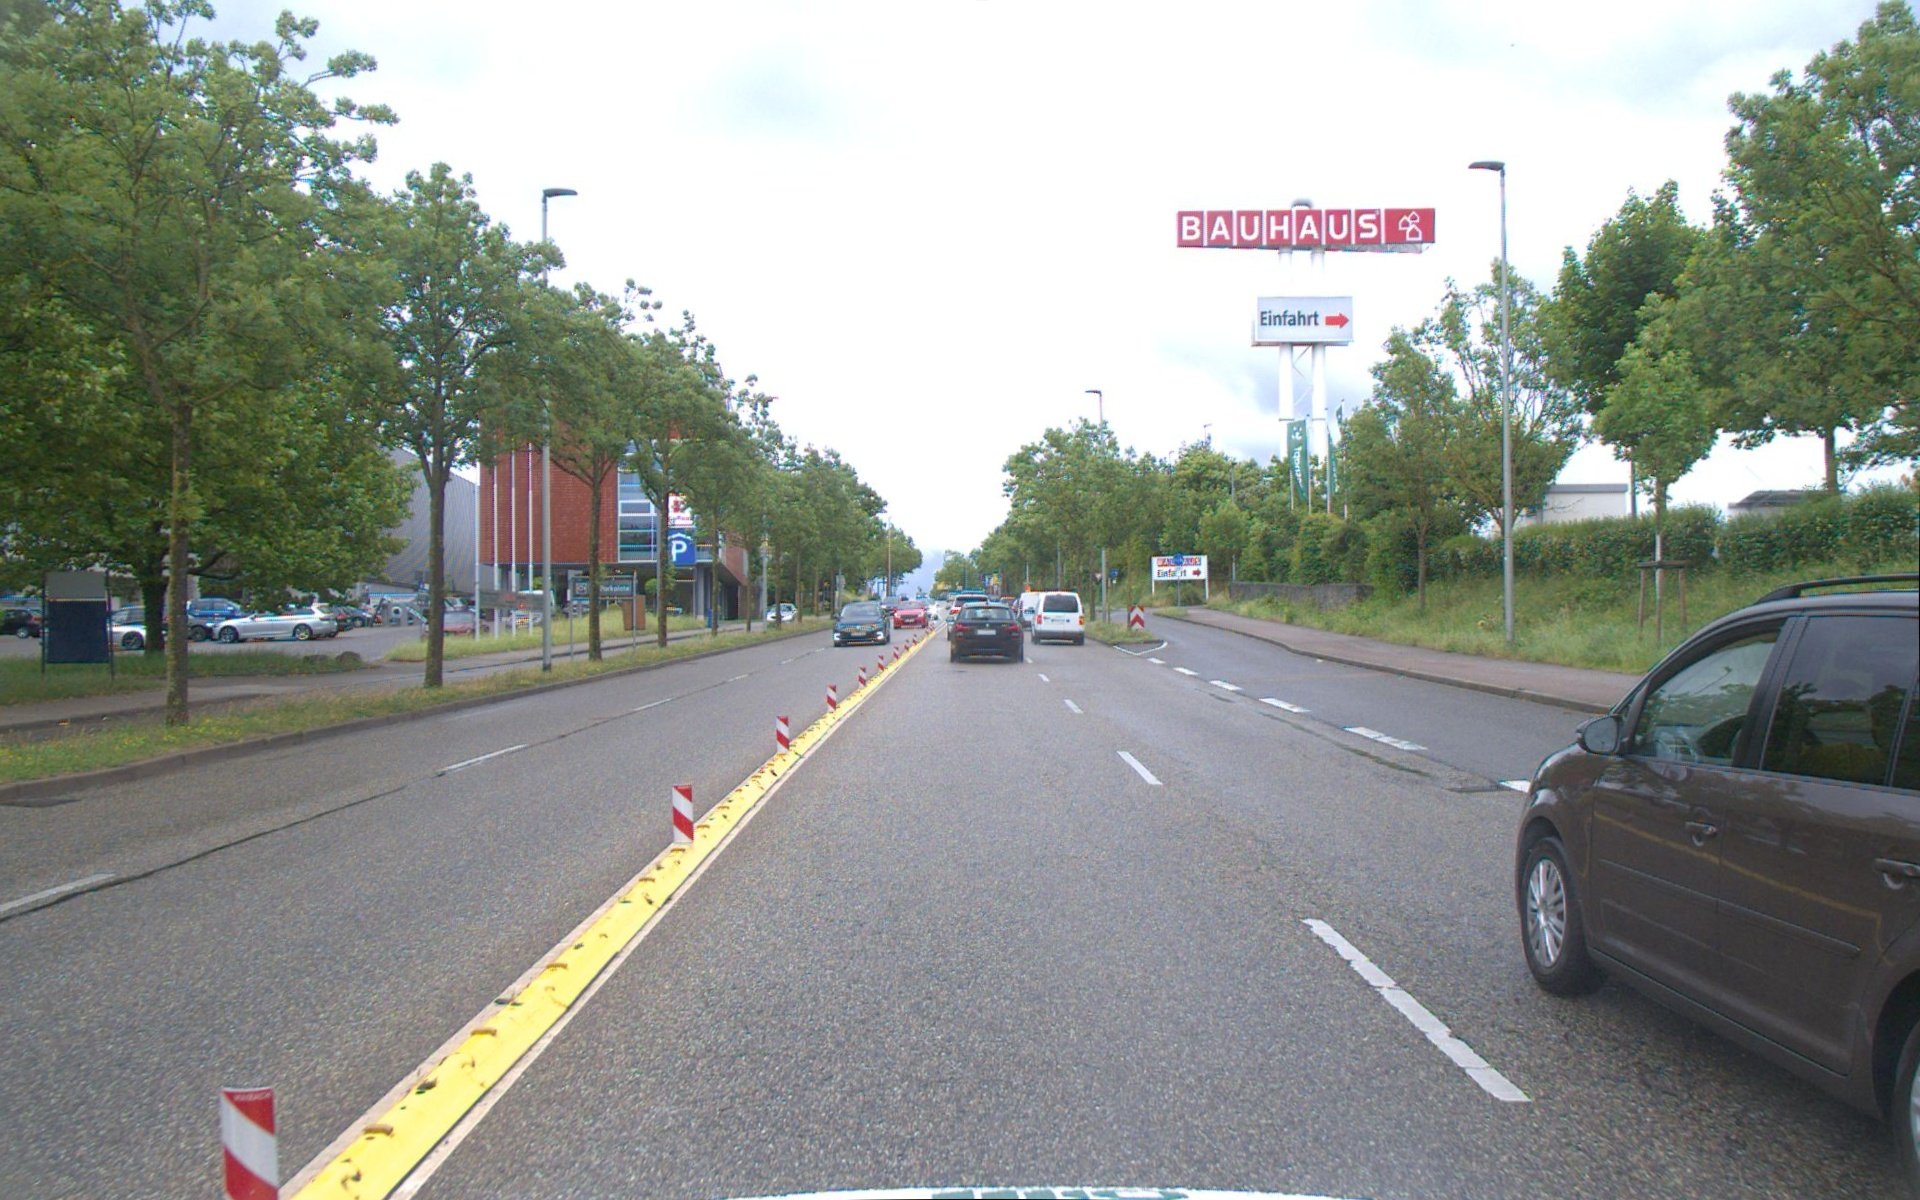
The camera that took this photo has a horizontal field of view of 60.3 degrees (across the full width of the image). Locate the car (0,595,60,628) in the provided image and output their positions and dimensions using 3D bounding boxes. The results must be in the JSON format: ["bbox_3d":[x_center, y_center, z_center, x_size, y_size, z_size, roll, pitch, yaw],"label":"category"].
[{"bbox_3d":[-51.954,0.615,90.989,3.911,1.762,1.798,0,1,-7],"label":"car"}]

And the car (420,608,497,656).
[{"bbox_3d":[-19.497,1.196,64.454,1.895,1.637,4.707,1,2,-5],"label":"car"}]

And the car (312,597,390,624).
[{"bbox_3d":[-36.066,0.610,98.038,4.032,1.536,1.816,0,1,-8],"label":"car"}]

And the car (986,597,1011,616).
[{"bbox_3d":[3.164,0.536,136.087,1.758,1.537,3.998,1,-1,-3],"label":"car"}]

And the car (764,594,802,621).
[{"bbox_3d":[-11.118,0.472,104.205,1.829,1.580,4.575,-3,0,0],"label":"car"}]

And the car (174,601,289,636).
[{"bbox_3d":[-34.105,0.843,77.578,4.523,1.536,2.022,0,1,-8],"label":"car"}]

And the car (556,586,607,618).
[{"bbox_3d":[-22.803,0.113,99.795,2.095,1.804,4.607,1,2,-2],"label":"car"}]

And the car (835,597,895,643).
[{"bbox_3d":[-3.283,0.658,57.811,1.789,1.491,4.616,-1,0,0],"label":"car"}]

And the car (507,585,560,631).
[{"bbox_3d":[-21.783,0.374,84.697,2.074,2.132,5.113,0,2,-9],"label":"car"}]

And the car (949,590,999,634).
[{"bbox_3d":[0.513,0.459,61.851,1.757,1.537,4.000,1,-1,0],"label":"car"}]

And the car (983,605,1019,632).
[{"bbox_3d":[2.356,1.064,95.693,1.758,1.537,3.998,1,-1,-3],"label":"car"}]

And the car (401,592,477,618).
[{"bbox_3d":[-31.778,0.302,100.972,4.112,1.536,1.816,0,1,-8],"label":"car"}]

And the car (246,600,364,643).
[{"bbox_3d":[-28.486,0.925,72.041,4.415,1.776,1.897,0,1,-8],"label":"car"}]

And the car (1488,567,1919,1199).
[{"bbox_3d":[3.228,0.735,5.199,1.651,1.608,4.217,2,0,-2],"label":"car"}]

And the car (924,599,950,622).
[{"bbox_3d":[-1.544,0.711,112.783,1.633,1.434,4.378,-3,0,1],"label":"car"}]

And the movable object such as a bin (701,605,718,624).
[{"bbox_3d":[-14.980,0.875,98.981,0.802,1.098,1.086,4,0,1],"label":"movable object such as a bin"}]

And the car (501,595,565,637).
[{"bbox_3d":[-20.341,0.732,79.033,1.998,1.792,4.943,1,2,-3],"label":"car"}]

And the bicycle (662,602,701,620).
[{"bbox_3d":[-16.480,0.642,97.945,2.033,0.951,1.094,4,0,4],"label":"bicycle"}]

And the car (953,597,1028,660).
[{"bbox_3d":[0.765,0.683,41.852,1.789,1.494,4.000,-1,0,1],"label":"car"}]

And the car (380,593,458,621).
[{"bbox_3d":[-31.513,0.427,96.494,4.032,1.536,1.816,0,1,-8],"label":"car"}]

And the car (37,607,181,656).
[{"bbox_3d":[-32.600,1.182,63.509,4.517,1.776,1.962,0,1,-12],"label":"car"}]

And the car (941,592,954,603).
[{"bbox_3d":[-1.839,-0.363,247.901,1.757,1.536,4.000,-3,0,1],"label":"car"}]

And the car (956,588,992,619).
[{"bbox_3d":[0.720,0.213,86.288,1.758,1.537,3.999,1,-1,-1],"label":"car"}]

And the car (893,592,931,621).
[{"bbox_3d":[-2.493,0.329,86.669,1.725,1.450,4.181,-1,0,2],"label":"car"}]

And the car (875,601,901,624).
[{"bbox_3d":[-5.708,0.982,131.892,1.751,1.642,4.437,-3,0,1],"label":"car"}]

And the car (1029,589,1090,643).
[{"bbox_3d":[3.442,0.519,57.920,1.790,1.790,3.999,1,0,-1],"label":"car"}]

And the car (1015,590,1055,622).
[{"bbox_3d":[3.656,0.305,81.285,1.757,1.537,4.000,1,-1,0],"label":"car"}]

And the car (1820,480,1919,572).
[{"bbox_3d":[19.614,-1.538,32.643,4.264,1.657,1.926,-4,0,-6],"label":"car"}]

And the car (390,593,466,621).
[{"bbox_3d":[-31.749,0.414,98.719,4.032,1.536,1.816,0,1,-8],"label":"car"}]

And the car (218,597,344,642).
[{"bbox_3d":[-28.372,0.827,69.201,4.512,1.776,1.964,0,1,-8],"label":"car"}]

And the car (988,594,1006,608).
[{"bbox_3d":[4.012,0.125,179.237,1.758,1.537,3.999,1,-1,-1],"label":"car"}]
